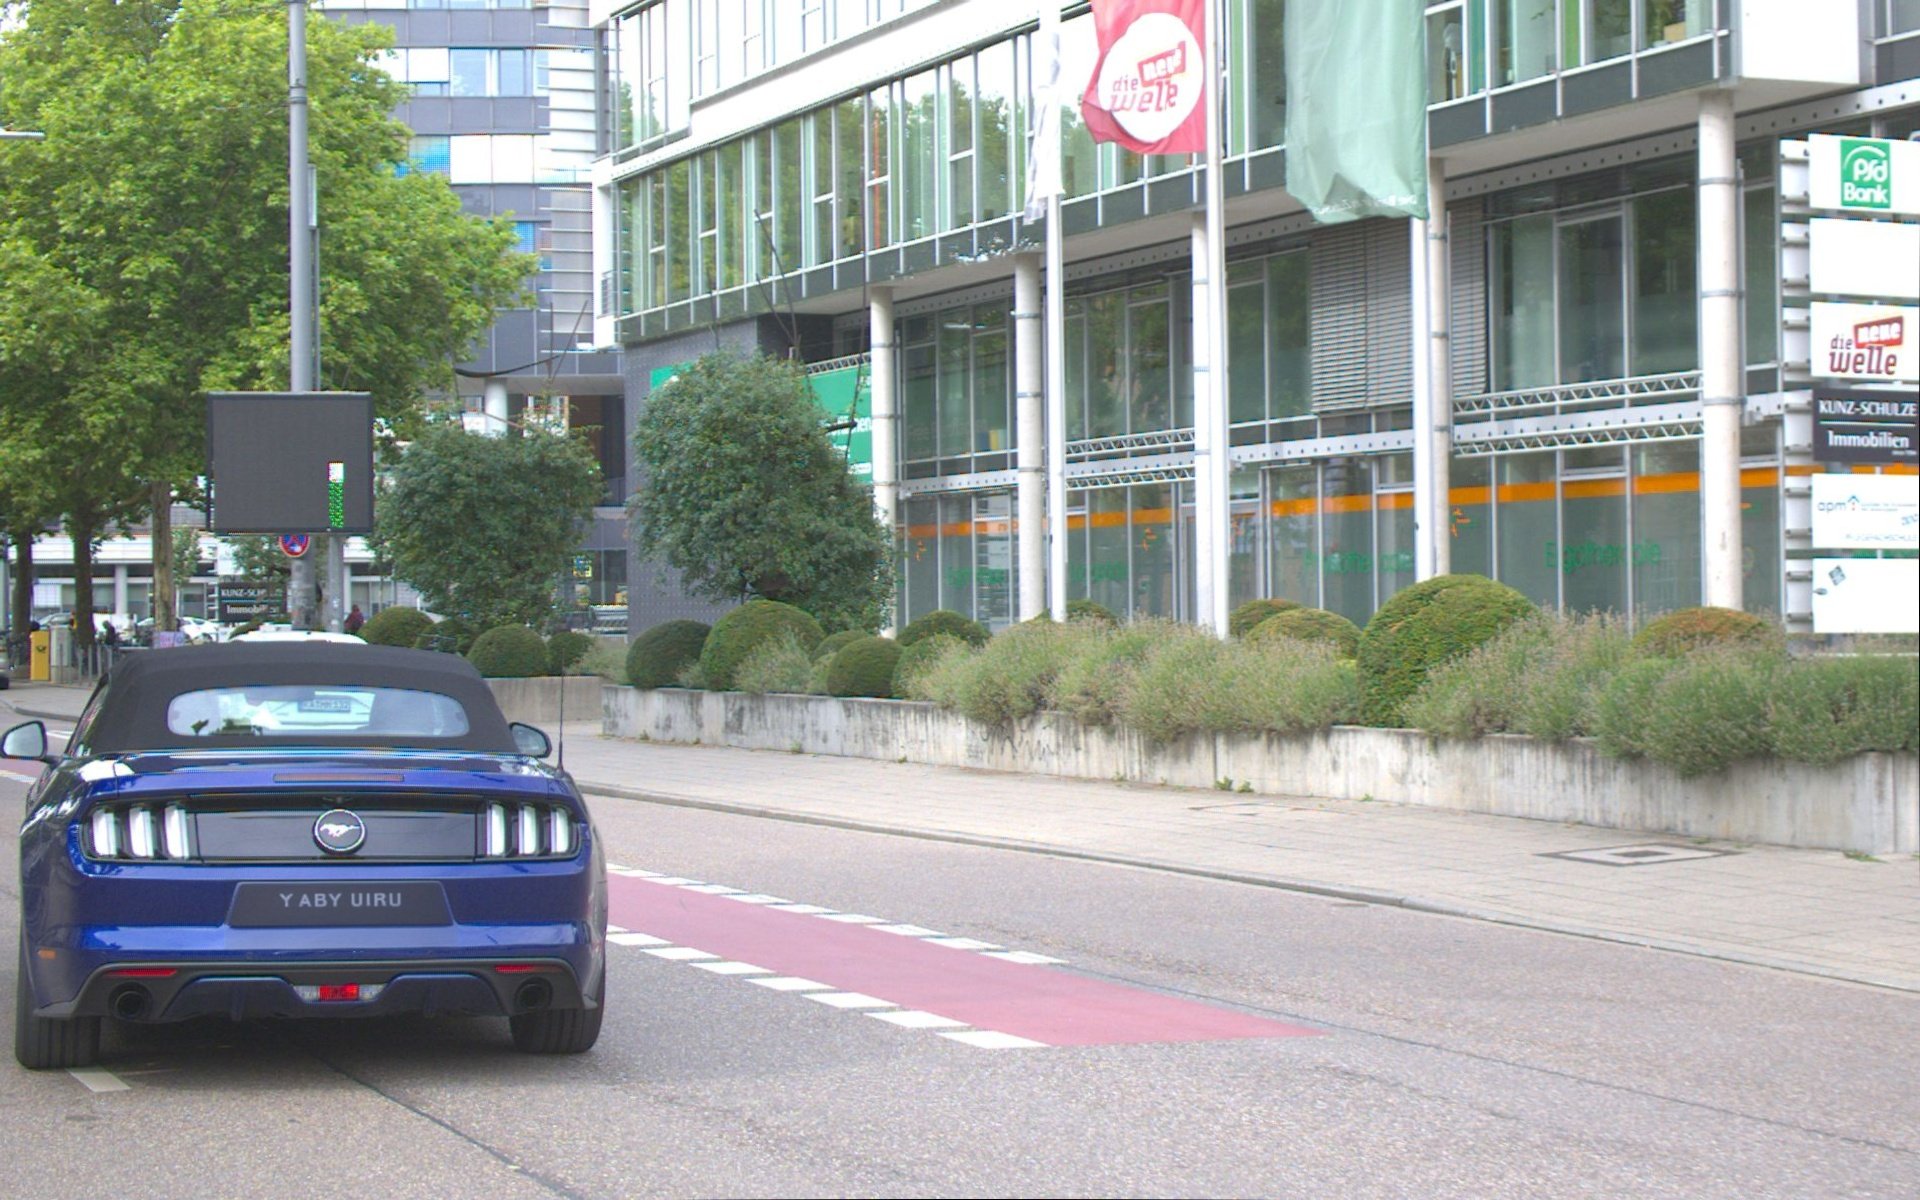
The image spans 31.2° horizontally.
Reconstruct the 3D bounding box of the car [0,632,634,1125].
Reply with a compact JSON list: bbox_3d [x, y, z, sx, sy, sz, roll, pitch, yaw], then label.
[{"bbox_3d":[-2.493,0.838,12.394,1.875,1.399,4.283,-1,0,-16],"label":"car"}]

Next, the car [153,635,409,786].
[{"bbox_3d":[-7.115,1.117,35.733,1.834,1.434,4.188,-1,-1,-22],"label":"car"}]

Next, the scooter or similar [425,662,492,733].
[{"bbox_3d":[-6.874,1.323,47.095,0.587,0.947,1.860,-1,-1,-18],"label":"scooter or similar"}]

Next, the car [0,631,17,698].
[{"bbox_3d":[-23.766,1.530,81.940,1.880,1.577,4.326,0,-1,-24],"label":"car"}]
